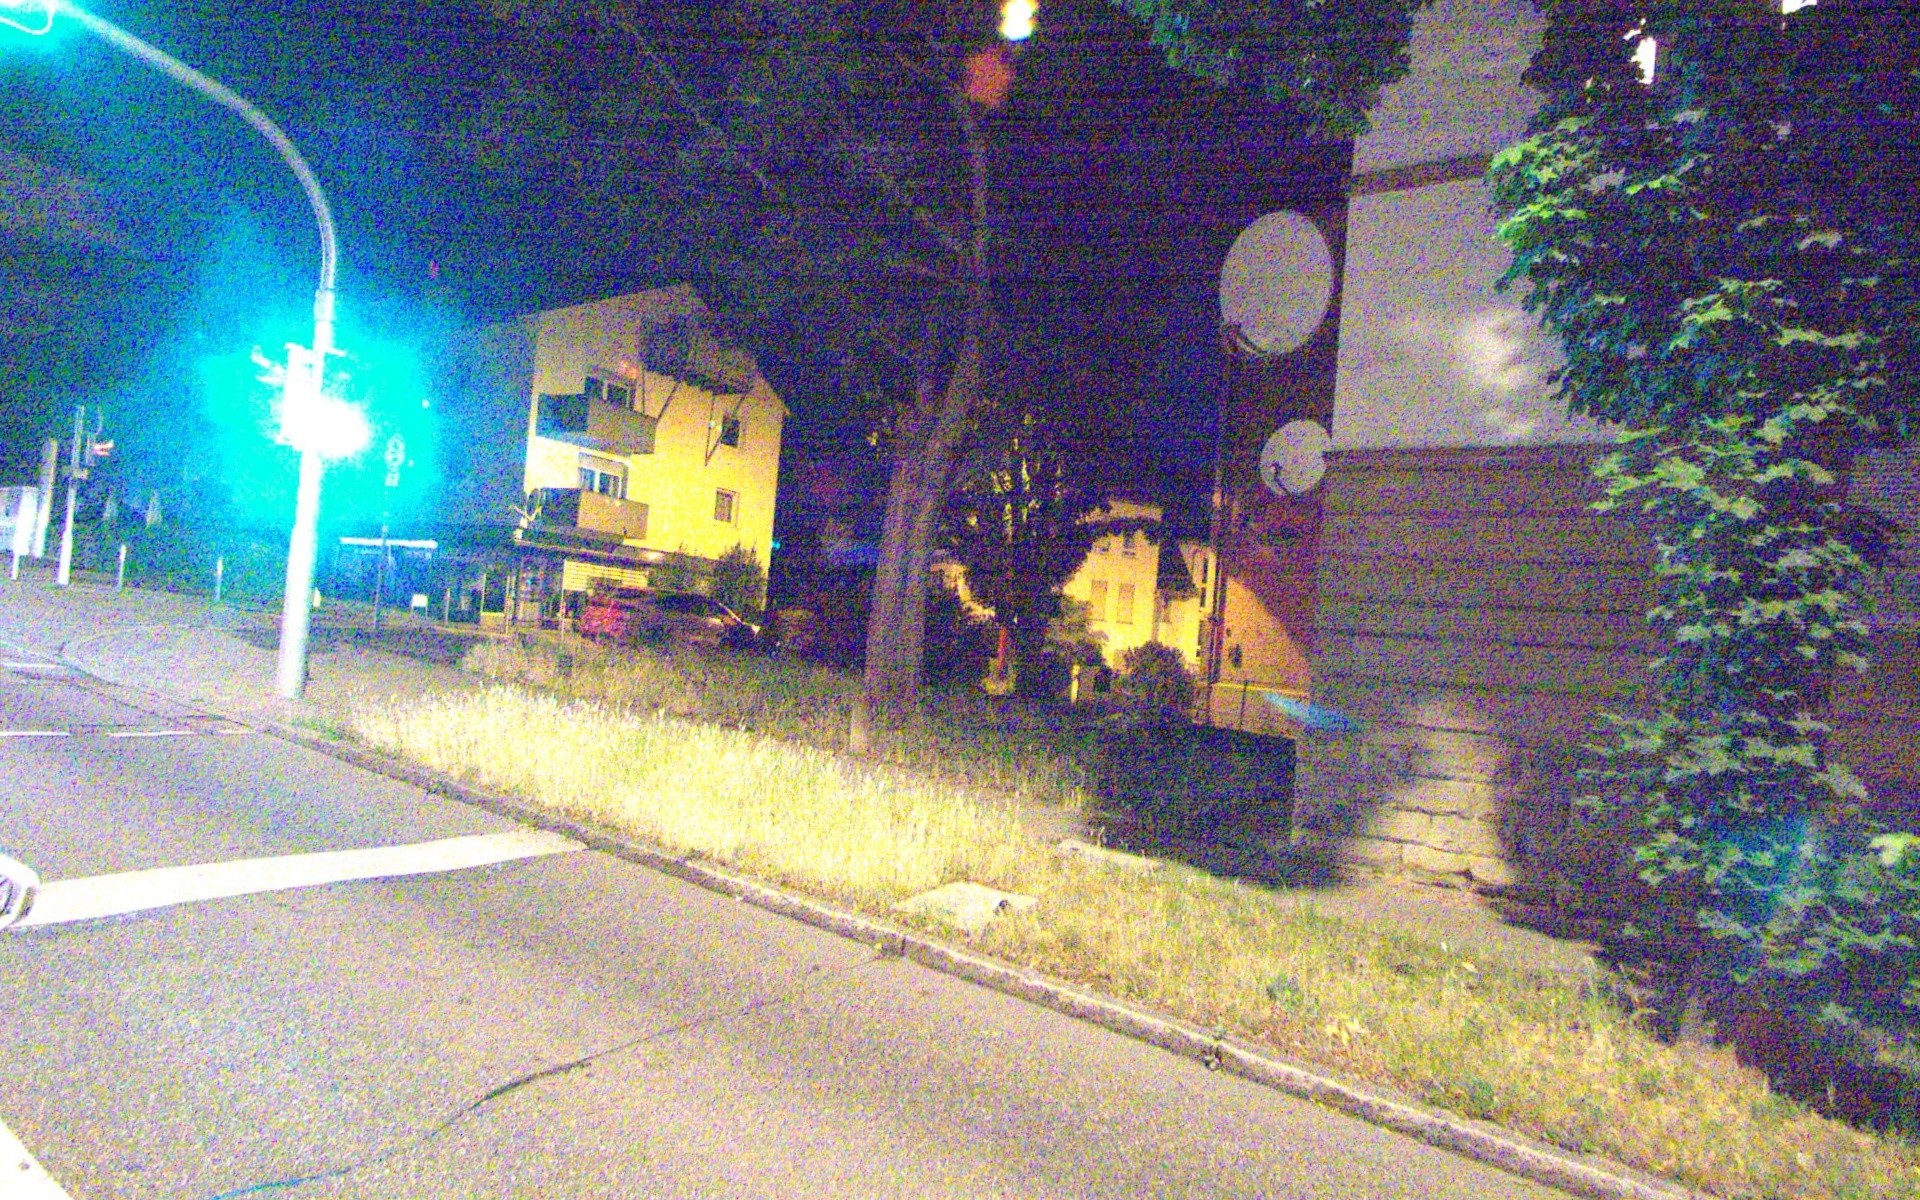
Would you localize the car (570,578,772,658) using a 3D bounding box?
[{"bbox_3d":[-6.549,0.455,23.180,1.740,1.295,4.131,6,-3,39],"label":"car"}]
